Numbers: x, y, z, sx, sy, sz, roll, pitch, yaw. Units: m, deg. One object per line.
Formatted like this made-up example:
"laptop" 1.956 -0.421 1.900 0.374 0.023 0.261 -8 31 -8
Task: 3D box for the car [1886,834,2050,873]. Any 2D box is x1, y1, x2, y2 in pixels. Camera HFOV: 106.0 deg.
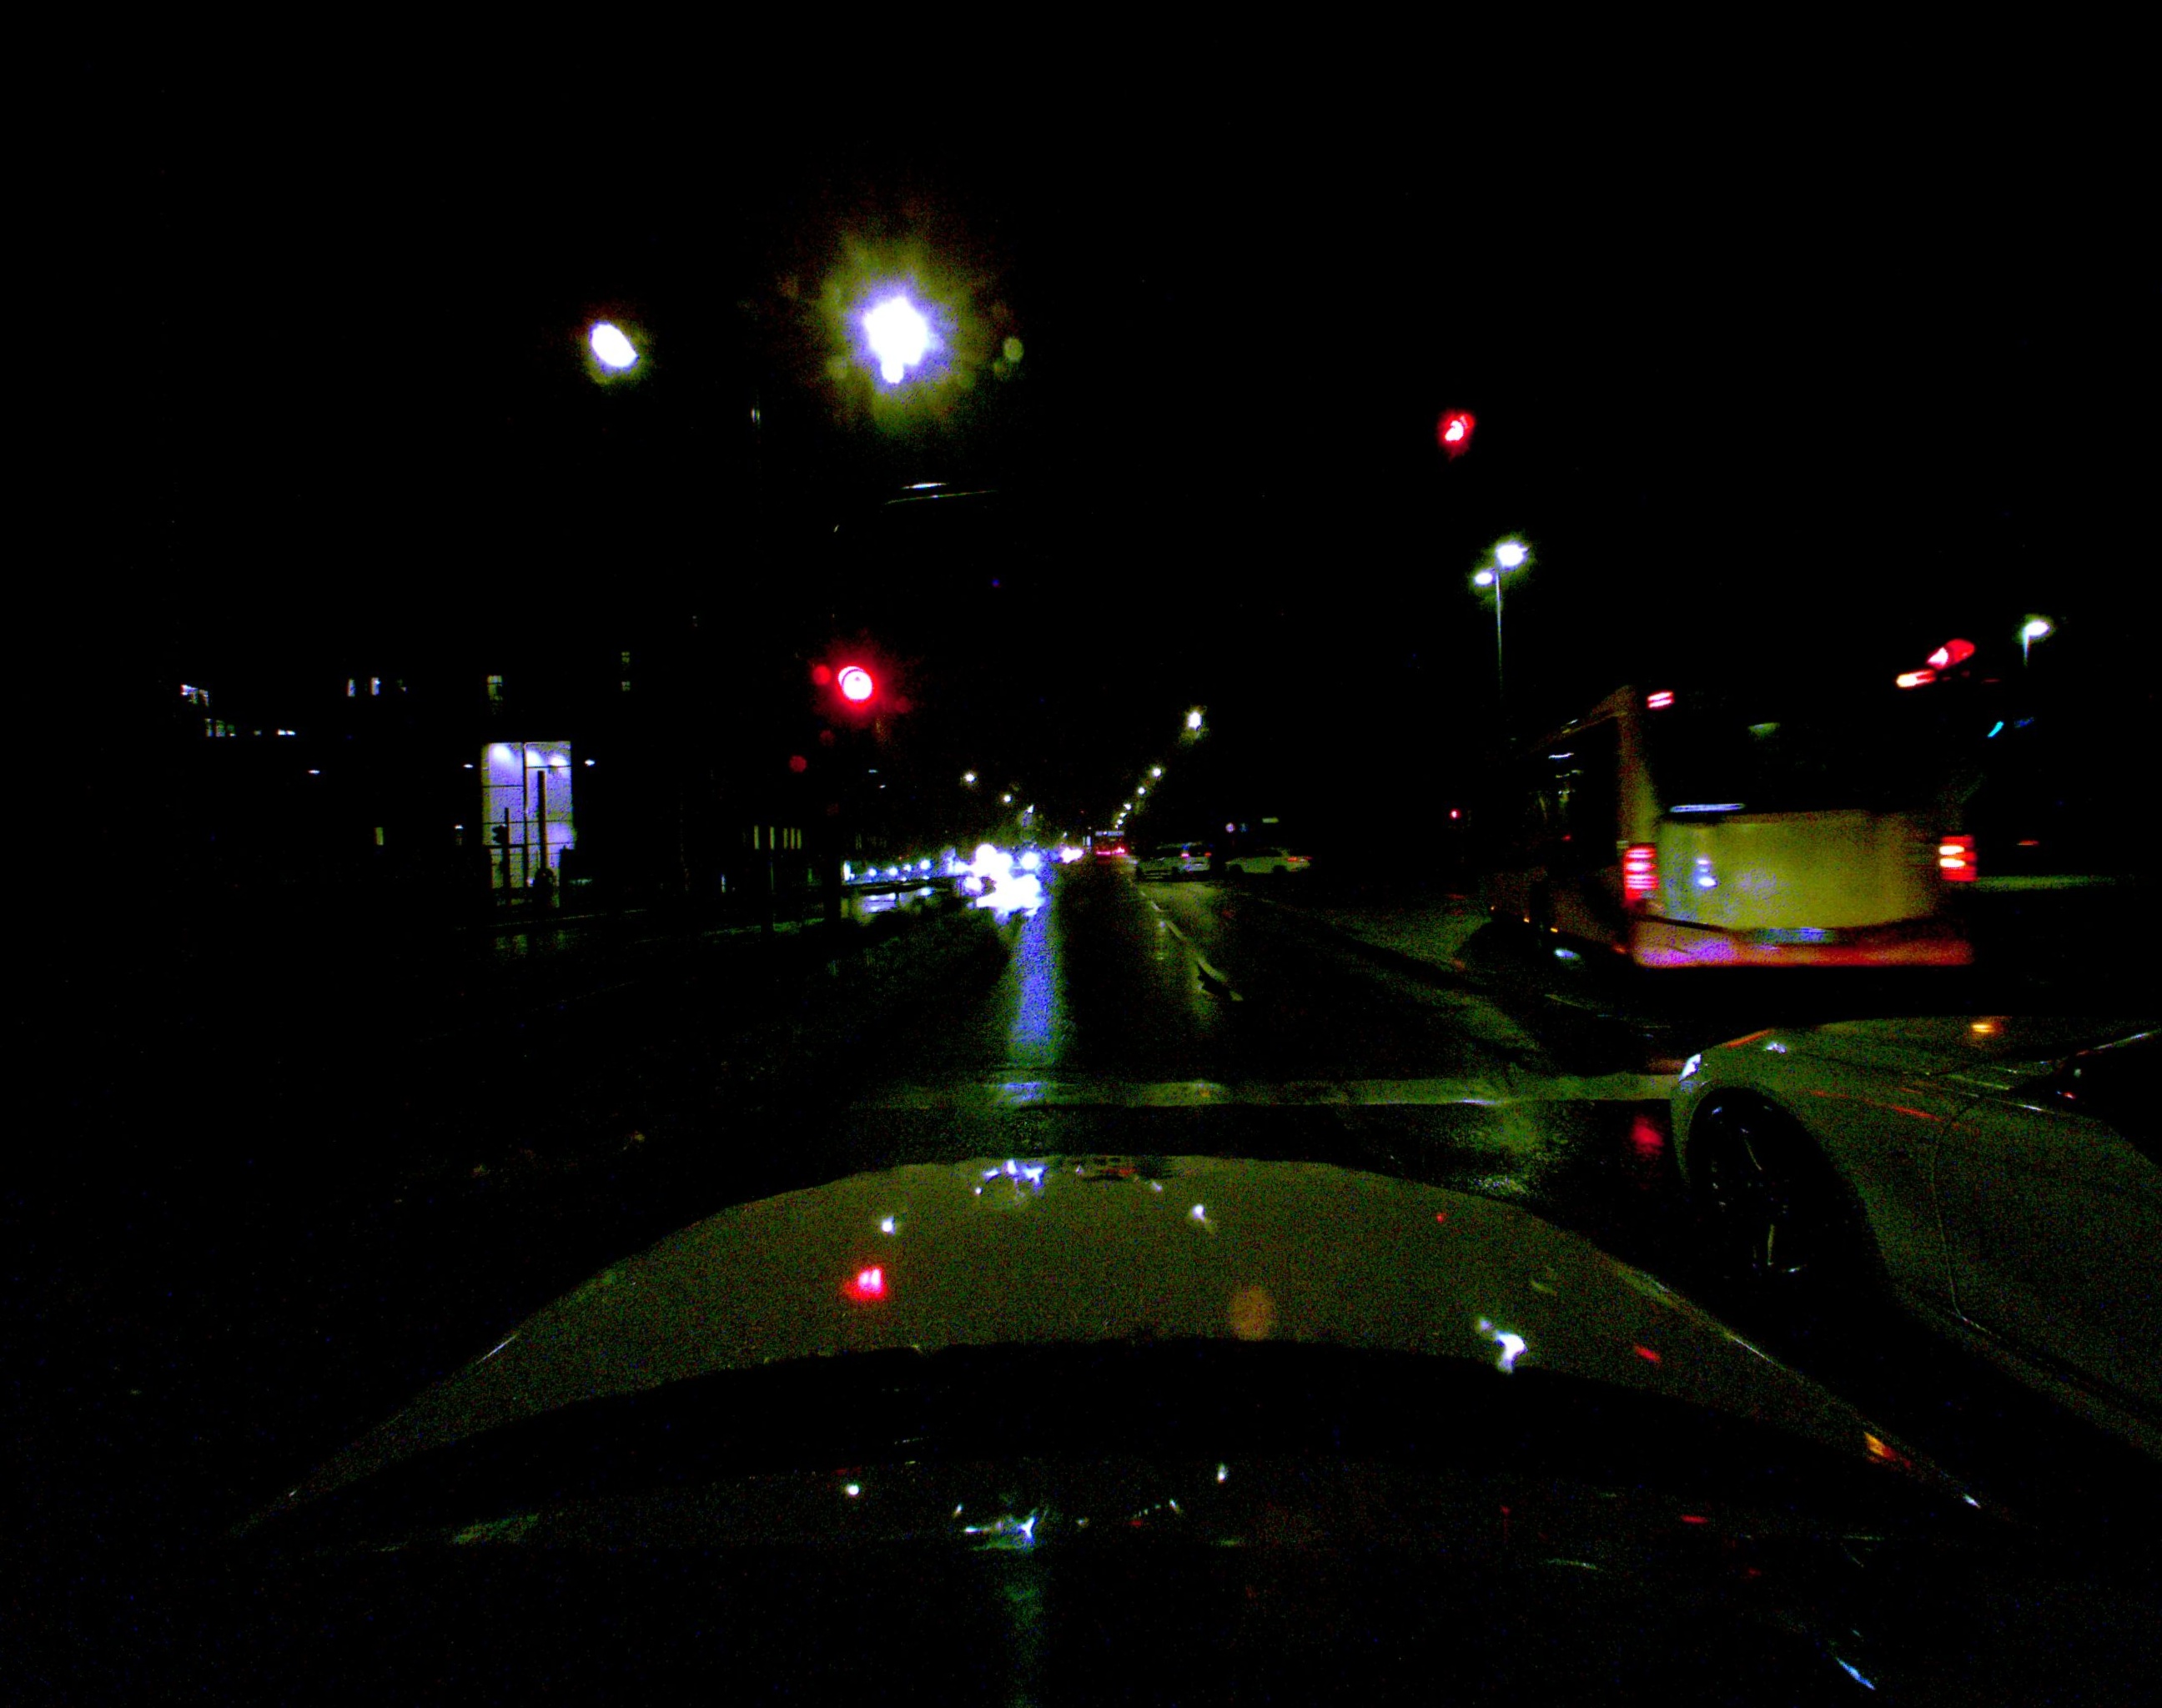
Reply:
"car" 34.937 -0.005 32.191 4.113 1.487 1.802 0 -1 11

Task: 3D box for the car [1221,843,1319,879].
"car" 9.228 0.345 40.044 1.807 1.679 4.373 0 -1 -45

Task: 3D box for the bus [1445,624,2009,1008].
"bus" 7.528 -0.329 11.703 2.748 3.123 9.803 0 0 16

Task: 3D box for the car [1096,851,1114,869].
"car" 2.925 0.793 100.511 2.128 2.145 4.927 0 -1 0

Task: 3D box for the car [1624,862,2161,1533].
"car" 3.122 0.724 1.303 1.710 1.404 4.351 0 0 2

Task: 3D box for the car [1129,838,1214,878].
"car" 4.461 0.208 40.974 1.803 1.874 4.580 0 -1 -32

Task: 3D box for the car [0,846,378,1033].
"car" -12.192 0.936 9.922 1.977 1.984 5.135 -2 0 19

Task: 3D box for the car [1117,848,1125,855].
"car" 10.916 -0.681 221.059 1.986 1.759 4.001 0 -1 2
